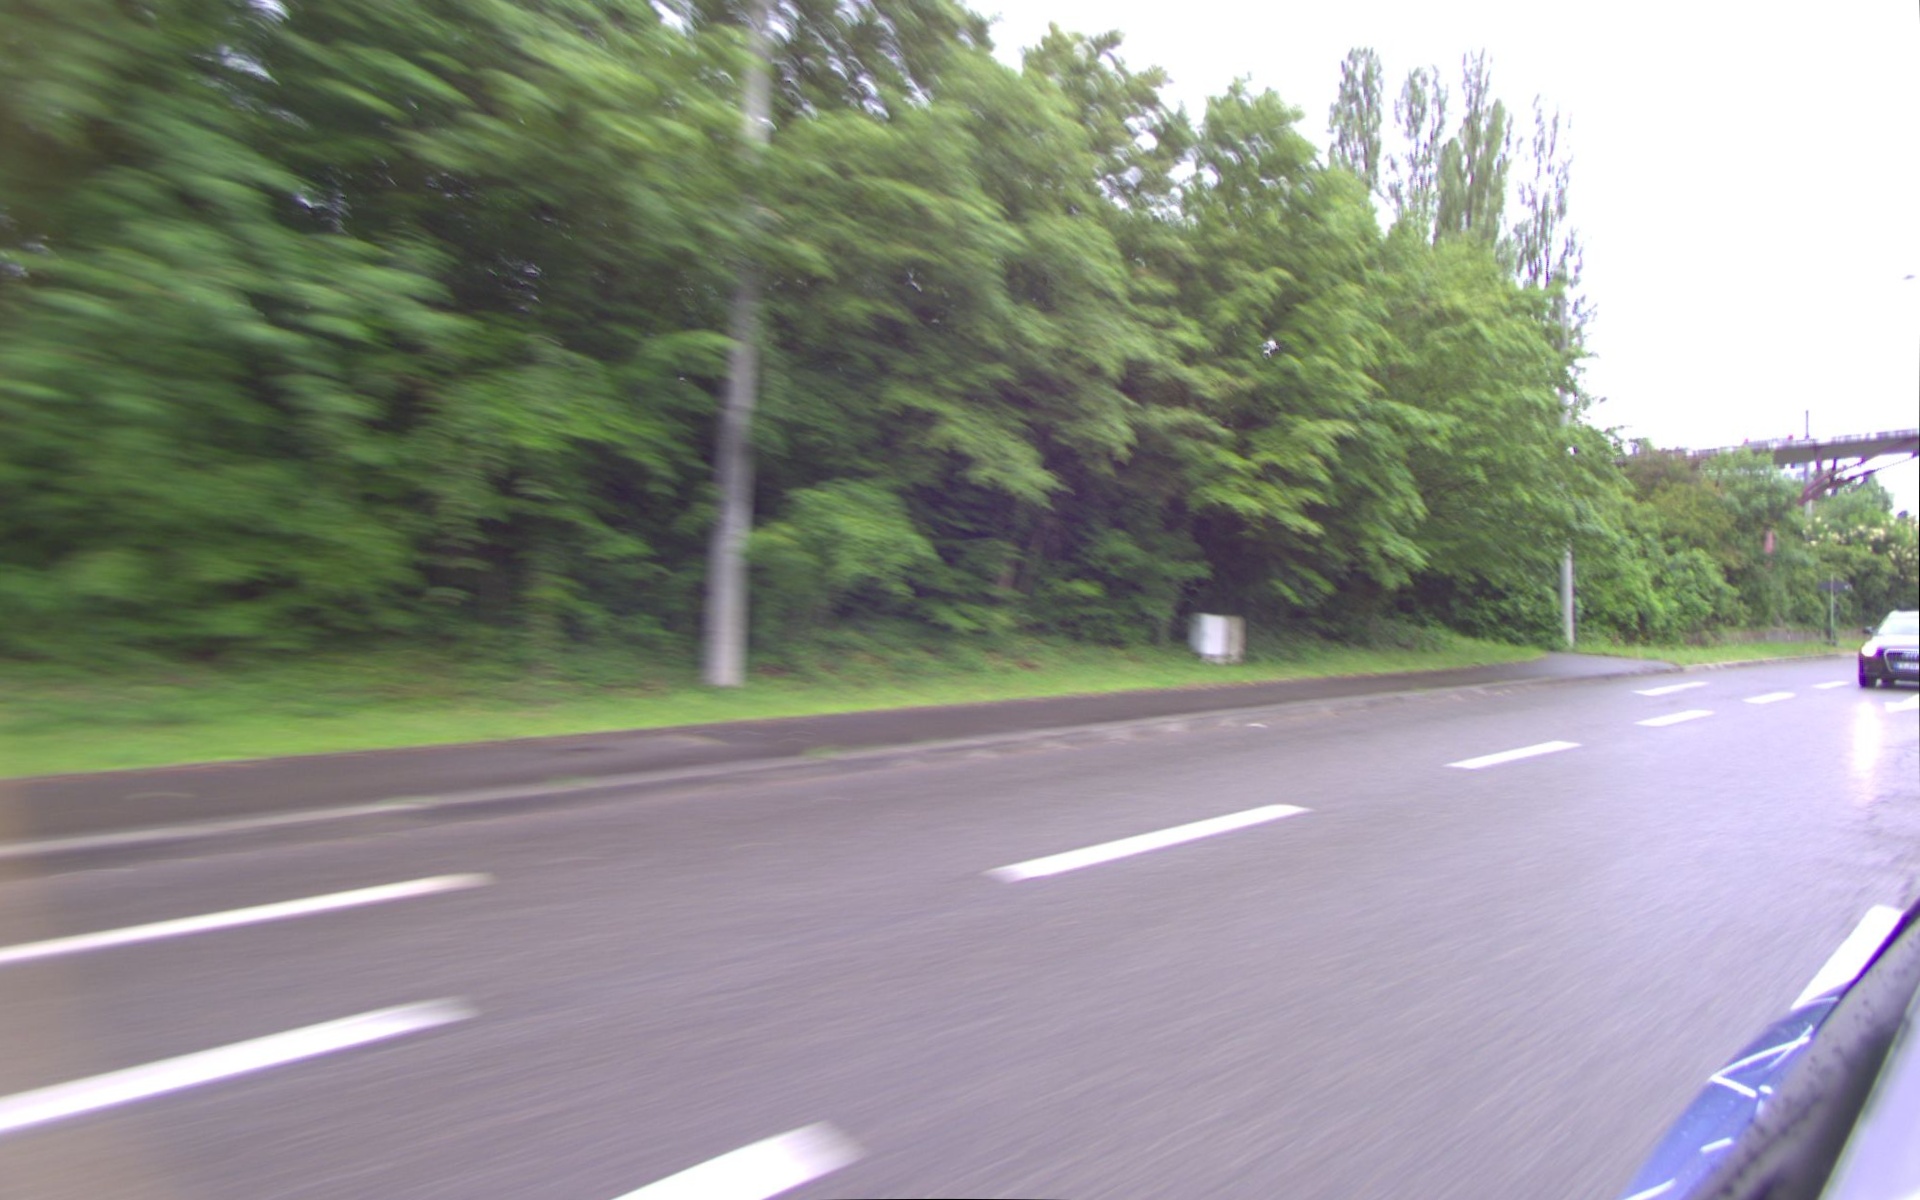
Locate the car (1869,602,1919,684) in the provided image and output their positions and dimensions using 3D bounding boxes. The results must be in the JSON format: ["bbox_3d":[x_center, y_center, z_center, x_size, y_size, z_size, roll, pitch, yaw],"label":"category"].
[{"bbox_3d":[20.608,0.864,21.141,4.204,1.621,1.926,1,-1,-41],"label":"car"}]
